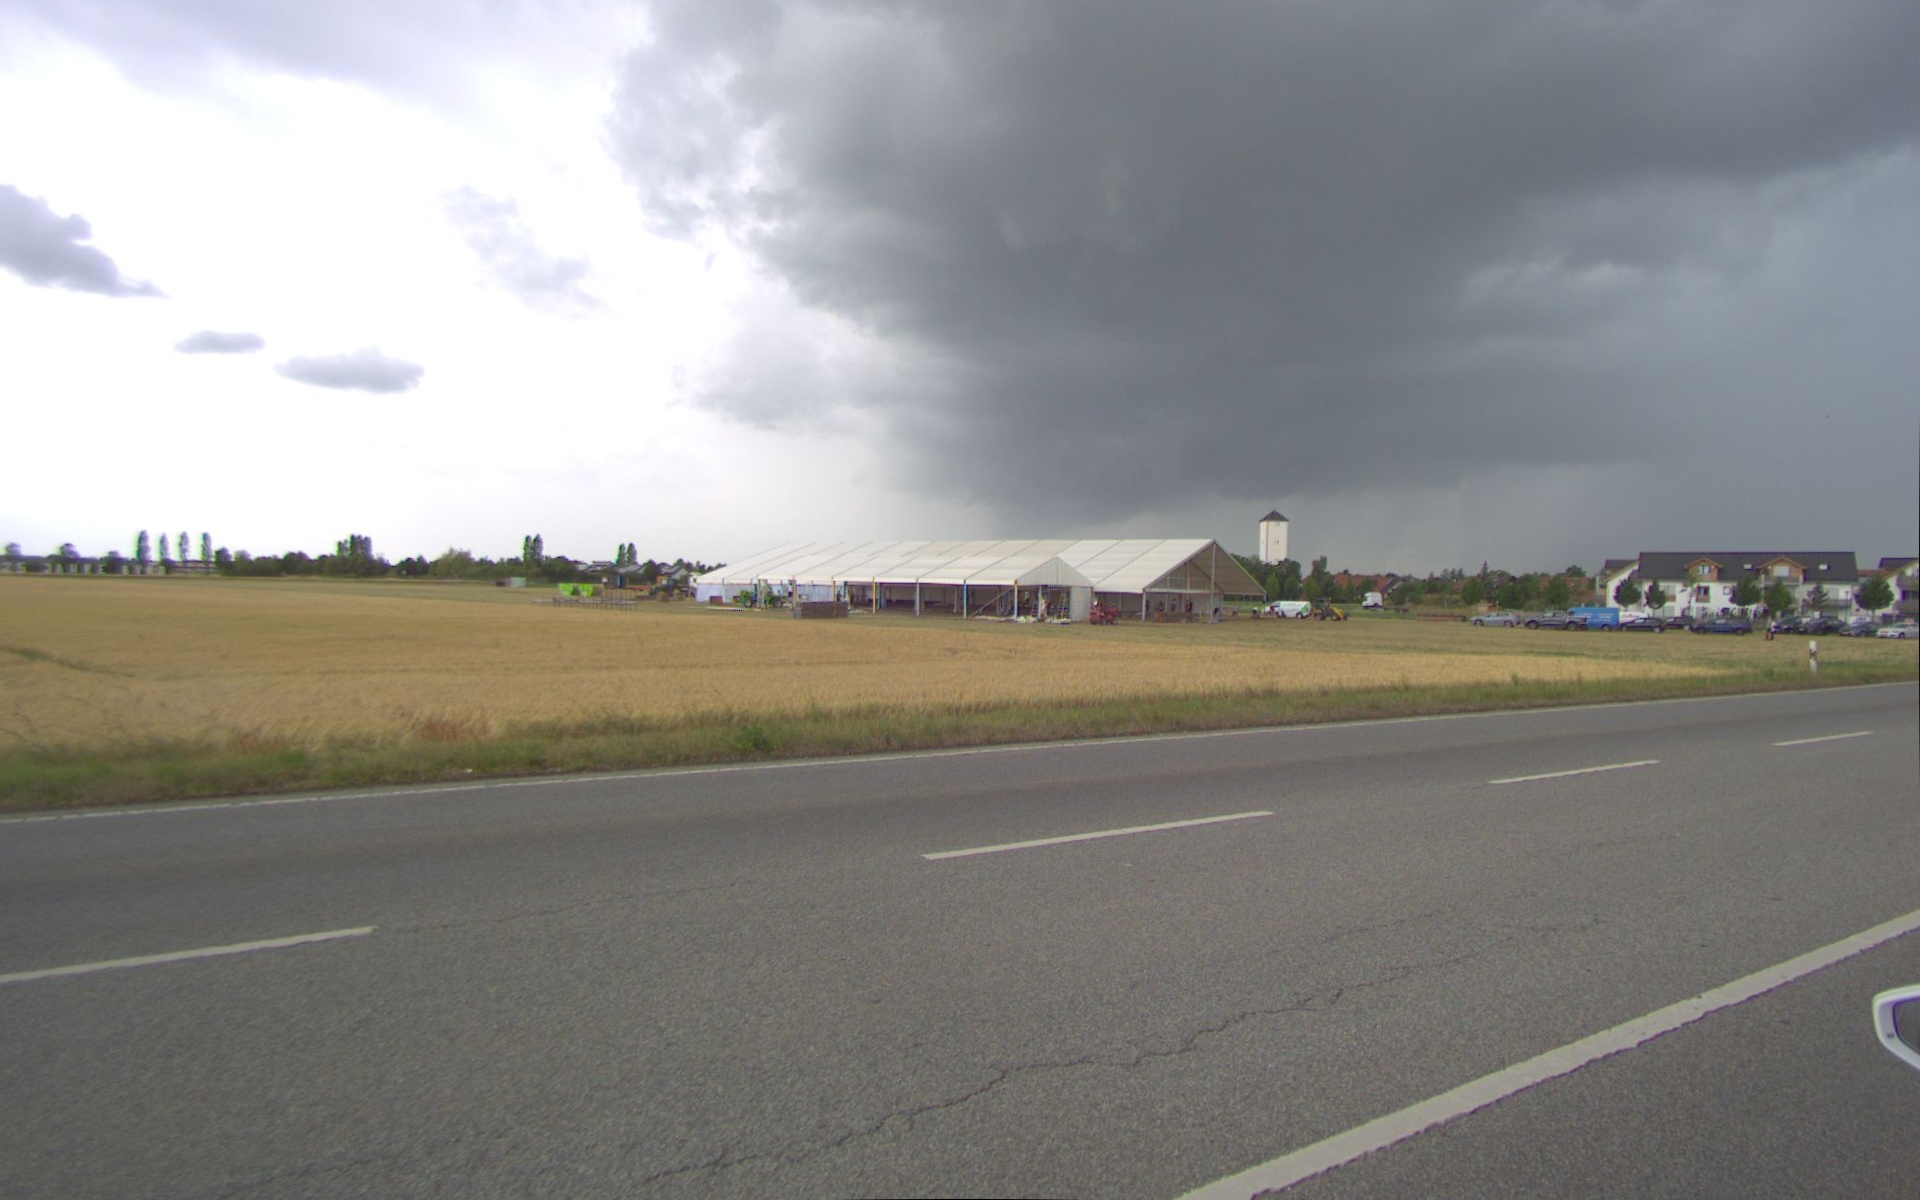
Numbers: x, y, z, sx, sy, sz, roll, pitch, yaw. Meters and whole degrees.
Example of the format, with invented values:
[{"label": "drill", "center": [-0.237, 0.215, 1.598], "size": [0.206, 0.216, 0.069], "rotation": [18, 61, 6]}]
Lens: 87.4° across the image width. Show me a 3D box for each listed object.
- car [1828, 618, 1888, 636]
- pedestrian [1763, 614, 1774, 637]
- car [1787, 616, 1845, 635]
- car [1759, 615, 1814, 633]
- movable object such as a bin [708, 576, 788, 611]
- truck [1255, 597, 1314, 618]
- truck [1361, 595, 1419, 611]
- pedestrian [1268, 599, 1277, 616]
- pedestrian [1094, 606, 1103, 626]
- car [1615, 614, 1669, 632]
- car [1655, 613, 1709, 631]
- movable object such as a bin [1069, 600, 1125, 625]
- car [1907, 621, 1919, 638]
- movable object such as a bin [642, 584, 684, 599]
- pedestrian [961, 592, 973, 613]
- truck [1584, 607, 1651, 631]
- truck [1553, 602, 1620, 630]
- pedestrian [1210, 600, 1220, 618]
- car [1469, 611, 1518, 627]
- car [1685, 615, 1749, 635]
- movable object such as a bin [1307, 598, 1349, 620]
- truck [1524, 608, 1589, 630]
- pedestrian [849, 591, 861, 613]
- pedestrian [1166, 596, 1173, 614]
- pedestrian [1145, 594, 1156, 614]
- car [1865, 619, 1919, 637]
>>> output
[{"label": "car", "center": [80.682, 2.428, 90.289], "size": [4.139, 1.556, 1.995], "rotation": [1, 0, -14]}, {"label": "pedestrian", "center": [64.461, 2.020, 80.110], "size": [0.673, 1.809, 0.543], "rotation": [1, 0, -43]}, {"label": "car", "center": [79.451, 2.321, 93.230], "size": [4.139, 1.651, 1.995], "rotation": [1, 0, -14]}, {"label": "car", "center": [79.587, 2.282, 96.786], "size": [4.139, 1.651, 1.995], "rotation": [1, 0, -14]}, {"label": "movable object such as a bin", "center": [-21.699, -0.666, 102.513], "size": [7.463, 3.220, 4.141], "rotation": [2, 1, 38]}, {"label": "truck", "center": [36.917, 0.838, 114.244], "size": [5.958, 2.246, 2.714], "rotation": [1, 0, 32]}, {"label": "truck", "center": [73.160, 0.448, 171.126], "size": [3.254, 2.564, 9.319], "rotation": [1, 0, -24]}, {"label": "pedestrian", "center": [33.507, 0.849, 107.679], "size": [0.681, 1.799, 0.691], "rotation": [2, 0, 43]}, {"label": "pedestrian", "center": [11.368, 1.298, 82.558], "size": [0.464, 1.649, 0.580], "rotation": [1, 0, 44]}, {"label": "car", "center": [65.728, 2.191, 96.830], "size": [4.104, 1.539, 1.992], "rotation": [1, 0, 38]}, {"label": "car", "center": [76.289, 2.281, 106.141], "size": [4.568, 1.720, 1.992], "rotation": [1, 0, 39]}, {"label": "movable object such as a bin", "center": [10.862, 0.983, 79.346], "size": [2.554, 1.889, 4.459], "rotation": [1, 0, 35]}, {"label": "car", "center": [82.891, 2.541, 85.020], "size": [4.139, 1.465, 1.995], "rotation": [1, 0, -14]}, {"label": "movable object such as a bin", "center": [-43.370, -1.173, 146.533], "size": [2.527, 2.040, 5.389], "rotation": [2, 1, 39]}, {"label": "pedestrian", "center": [0.697, 0.278, 103.816], "size": [0.930, 2.130, 0.861], "rotation": [1, 0, -30]}, {"label": "truck", "center": [66.303, 1.855, 101.339], "size": [5.492, 2.226, 2.598], "rotation": [1, 0, 36]}, {"label": "truck", "center": [60.359, 1.524, 96.802], "size": [5.376, 2.478, 2.386], "rotation": [1, 0, 36]}, {"label": "pedestrian", "center": [25.867, 0.886, 101.921], "size": [0.679, 1.799, 0.692], "rotation": [1, 0, 35]}, {"label": "car", "center": [54.038, 1.886, 101.752], "size": [4.234, 1.481, 1.887], "rotation": [1, 0, 32]}, {"label": "car", "center": [70.315, 2.292, 93.356], "size": [4.657, 1.720, 1.991], "rotation": [1, 0, 39]}, {"label": "movable object such as a bin", "center": [39.641, 0.964, 108.245], "size": [3.927, 2.273, 1.881], "rotation": [1, 0, 31]}, {"label": "truck", "center": [56.495, 1.772, 95.159], "size": [5.153, 1.946, 2.107], "rotation": [1, 0, 32]}, {"label": "pedestrian", "center": [-9.631, 0.198, 92.042], "size": [1.005, 2.040, 0.806], "rotation": [1, 0, -2]}, {"label": "pedestrian", "center": [21.471, 0.502, 102.928], "size": [0.717, 1.803, 0.760], "rotation": [1, 0, 15]}, {"label": "pedestrian", "center": [19.323, 0.399, 101.941], "size": [0.759, 2.040, 0.871], "rotation": [1, 0, -29]}, {"label": "car", "center": [81.749, 2.430, 87.708], "size": [4.139, 1.465, 1.995], "rotation": [1, 0, -14]}]
